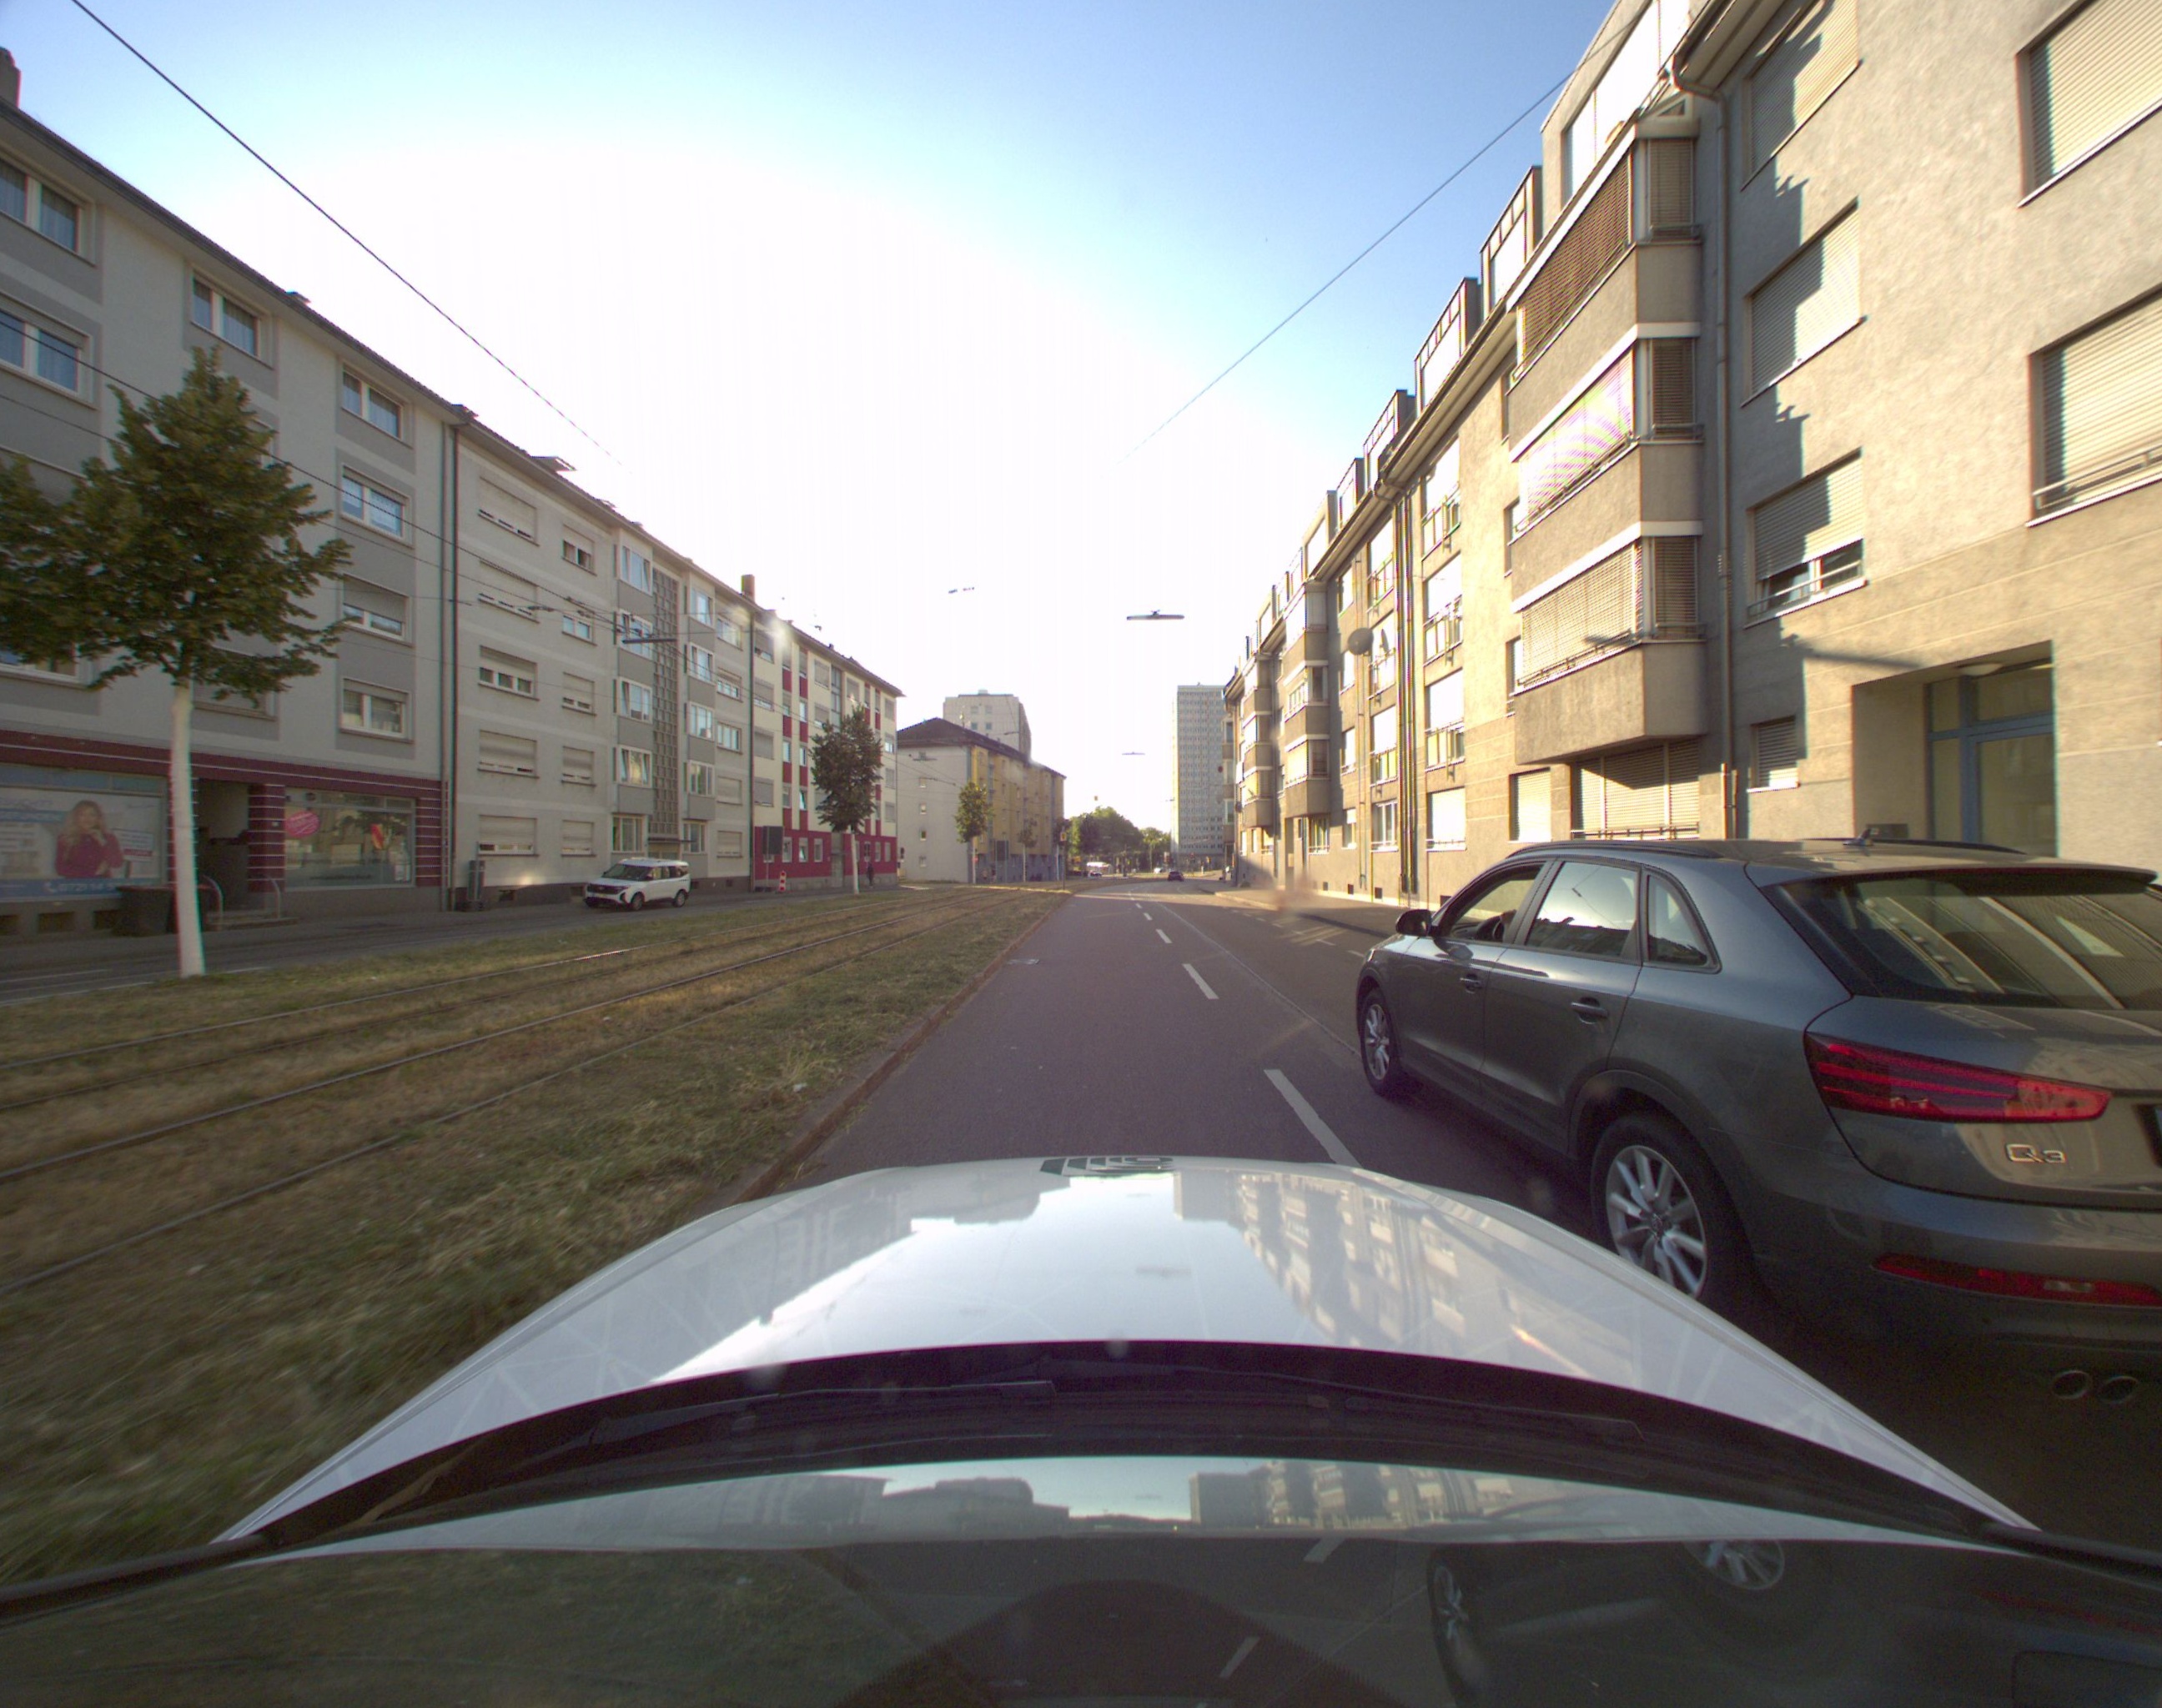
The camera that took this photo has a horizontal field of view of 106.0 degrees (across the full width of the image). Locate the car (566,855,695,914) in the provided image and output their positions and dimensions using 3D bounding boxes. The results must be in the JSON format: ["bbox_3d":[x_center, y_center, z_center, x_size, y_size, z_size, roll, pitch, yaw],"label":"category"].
[{"bbox_3d":[-16.535,1.074,30.204,1.858,1.829,4.426,6,0,4],"label":"car"}]

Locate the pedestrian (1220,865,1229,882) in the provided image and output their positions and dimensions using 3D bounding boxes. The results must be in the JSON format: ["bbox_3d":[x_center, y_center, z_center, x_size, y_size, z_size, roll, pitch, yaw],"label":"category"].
[{"bbox_3d":[15.241,2.064,86.514,0.824,1.772,0.999,-2,-1,12],"label":"pedestrian"}]

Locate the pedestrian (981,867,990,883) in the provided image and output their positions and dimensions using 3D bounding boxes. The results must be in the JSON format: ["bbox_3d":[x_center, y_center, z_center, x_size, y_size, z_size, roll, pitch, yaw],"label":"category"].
[{"bbox_3d":[-10.253,2.282,87.599,0.612,1.694,0.708,3,0,12],"label":"pedestrian"}]

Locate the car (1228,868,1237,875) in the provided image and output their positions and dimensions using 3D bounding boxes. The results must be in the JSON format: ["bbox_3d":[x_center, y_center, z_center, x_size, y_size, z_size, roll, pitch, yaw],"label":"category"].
[{"bbox_3d":[33.615,3.938,180.639,1.980,1.530,4.013,-1,-1,12],"label":"car"}]

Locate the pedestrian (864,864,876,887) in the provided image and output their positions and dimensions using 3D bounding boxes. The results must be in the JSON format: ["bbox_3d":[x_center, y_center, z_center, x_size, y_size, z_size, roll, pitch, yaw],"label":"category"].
[{"bbox_3d":[-15.401,1.563,59.435,0.610,1.689,0.793,-1,-1,7],"label":"pedestrian"}]

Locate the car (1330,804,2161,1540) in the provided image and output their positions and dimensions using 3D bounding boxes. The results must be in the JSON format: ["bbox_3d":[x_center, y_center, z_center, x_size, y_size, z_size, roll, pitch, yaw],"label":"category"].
[{"bbox_3d":[2.642,0.692,3.810,1.760,1.587,4.068,-1,0,1],"label":"car"}]

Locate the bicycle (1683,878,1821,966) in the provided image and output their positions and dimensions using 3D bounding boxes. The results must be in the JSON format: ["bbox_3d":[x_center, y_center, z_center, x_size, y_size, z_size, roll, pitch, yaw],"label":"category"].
[{"bbox_3d":[8.418,0.809,10.305,0.277,0.971,1.730,-4,-1,1],"label":"bicycle"}]

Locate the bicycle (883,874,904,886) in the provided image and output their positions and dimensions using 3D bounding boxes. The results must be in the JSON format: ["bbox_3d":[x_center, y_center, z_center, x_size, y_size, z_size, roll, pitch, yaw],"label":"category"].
[{"bbox_3d":[-18.337,2.554,79.756,1.952,1.076,0.602,-1,-2,-5],"label":"bicycle"}]

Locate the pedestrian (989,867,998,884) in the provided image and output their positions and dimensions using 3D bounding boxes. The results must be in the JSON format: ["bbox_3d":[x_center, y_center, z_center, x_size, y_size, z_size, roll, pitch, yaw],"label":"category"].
[{"bbox_3d":[-9.383,2.289,87.688,0.589,1.773,0.888,3,0,12],"label":"pedestrian"}]

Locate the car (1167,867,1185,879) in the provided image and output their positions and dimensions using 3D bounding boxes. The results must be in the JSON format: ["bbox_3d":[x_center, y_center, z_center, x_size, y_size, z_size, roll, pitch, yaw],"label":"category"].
[{"bbox_3d":[12.349,2.414,105.740,1.759,1.422,3.870,-2,-1,14],"label":"car"}]

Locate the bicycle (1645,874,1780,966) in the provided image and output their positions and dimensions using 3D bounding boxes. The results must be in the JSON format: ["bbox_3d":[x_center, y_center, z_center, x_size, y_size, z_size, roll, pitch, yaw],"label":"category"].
[{"bbox_3d":[8.063,0.801,10.496,0.358,1.032,1.730,-4,-1,1],"label":"bicycle"}]

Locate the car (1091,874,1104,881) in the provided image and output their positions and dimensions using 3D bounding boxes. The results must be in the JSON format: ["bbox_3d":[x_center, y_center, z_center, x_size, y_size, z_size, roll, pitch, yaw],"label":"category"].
[{"bbox_3d":[3.571,5.054,175.871,1.782,1.469,4.810,-3,-2,11],"label":"car"}]

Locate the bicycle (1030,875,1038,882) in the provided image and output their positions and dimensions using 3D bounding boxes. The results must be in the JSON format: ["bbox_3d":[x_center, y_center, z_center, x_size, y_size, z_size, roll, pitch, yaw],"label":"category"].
[{"bbox_3d":[-6.094,3.207,105.986,0.424,0.925,1.919,2,0,14],"label":"bicycle"}]

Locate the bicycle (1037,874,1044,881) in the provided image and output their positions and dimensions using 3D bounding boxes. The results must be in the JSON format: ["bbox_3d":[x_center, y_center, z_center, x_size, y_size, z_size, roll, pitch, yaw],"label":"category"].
[{"bbox_3d":[-5.408,3.195,109.653,0.424,0.960,1.919,-1,-1,13],"label":"bicycle"}]

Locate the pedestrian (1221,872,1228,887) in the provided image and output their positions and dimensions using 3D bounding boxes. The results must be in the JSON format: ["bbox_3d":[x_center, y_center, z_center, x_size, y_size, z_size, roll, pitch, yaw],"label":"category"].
[{"bbox_3d":[12.958,2.315,73.434,0.511,1.344,0.610,-2,-2,8],"label":"pedestrian"}]

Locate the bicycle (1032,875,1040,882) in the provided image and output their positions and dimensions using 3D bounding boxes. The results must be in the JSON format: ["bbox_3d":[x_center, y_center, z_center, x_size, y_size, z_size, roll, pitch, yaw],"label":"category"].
[{"bbox_3d":[-5.948,3.210,107.261,0.424,0.925,1.919,2,0,14],"label":"bicycle"}]
